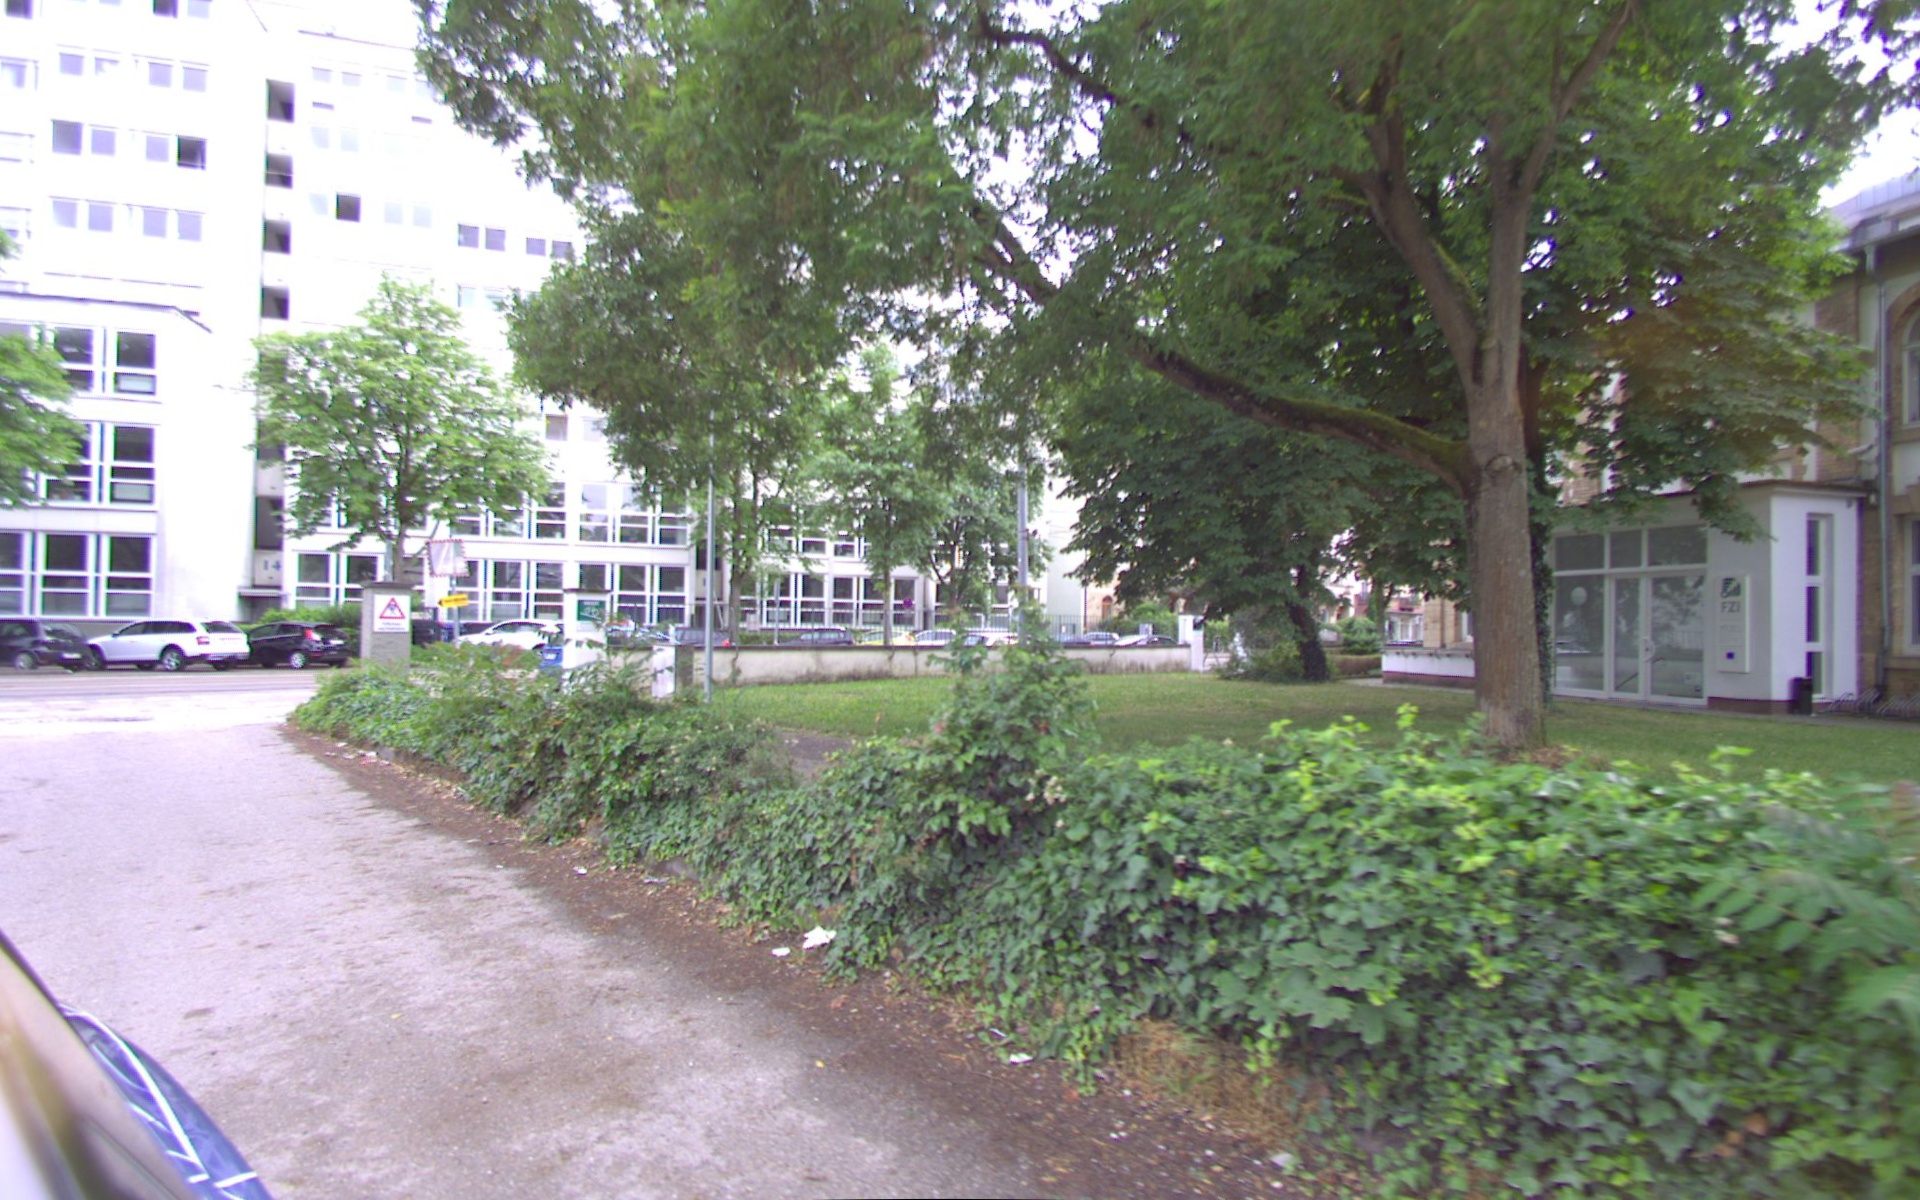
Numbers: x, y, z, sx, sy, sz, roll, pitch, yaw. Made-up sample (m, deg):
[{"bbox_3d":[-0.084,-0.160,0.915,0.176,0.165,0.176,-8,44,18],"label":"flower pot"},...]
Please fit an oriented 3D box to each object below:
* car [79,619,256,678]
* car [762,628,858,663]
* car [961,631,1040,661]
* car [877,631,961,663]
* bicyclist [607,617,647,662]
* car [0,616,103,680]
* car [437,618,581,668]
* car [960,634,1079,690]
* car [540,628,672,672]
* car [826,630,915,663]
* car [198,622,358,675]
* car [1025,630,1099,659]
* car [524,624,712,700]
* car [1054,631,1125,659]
[{"bbox_3d":[-22.547,1.353,28.849,3.983,1.495,1.695,2,-1,9],"label":"car"},{"bbox_3d":[-6.559,1.992,44.478,3.914,1.362,1.699,2,-1,2],"label":"car"},{"bbox_3d":[2.055,2.340,51.844,3.914,1.362,1.699,2,-1,2],"label":"car"},{"bbox_3d":[-1.963,2.249,48.706,3.914,1.362,1.699,2,-1,2],"label":"car"},{"bbox_3d":[-11.248,1.332,34.202,1.011,1.512,0.847,2,-3,-42],"label":"bicyclist"},{"bbox_3d":[-25.108,1.235,26.674,3.657,1.535,1.698,2,-1,3],"label":"car"},{"bbox_3d":[-15.784,1.501,35.581,4.283,1.568,1.700,2,-1,-2],"label":"car"},{"bbox_3d":[1.783,1.769,29.690,3.512,1.492,1.481,2,-1,-44],"label":"car"},{"bbox_3d":[-13.121,1.835,37.623,4.287,1.465,1.699,2,-1,2],"label":"car"},{"bbox_3d":[-4.090,2.129,46.726,3.914,1.362,1.699,2,-1,2],"label":"car"},{"bbox_3d":[-20.817,1.446,30.947,3.983,1.416,1.695,2,-1,9],"label":"car"},{"bbox_3d":[5.639,2.439,55.889,3.696,1.396,1.687,1,-1,23],"label":"car"},{"bbox_3d":[-7.216,1.284,21.509,3.381,1.472,1.681,2,-4,-44],"label":"car"},{"bbox_3d":[7.453,2.557,58.150,3.696,1.396,1.687,1,-1,23],"label":"car"}]
